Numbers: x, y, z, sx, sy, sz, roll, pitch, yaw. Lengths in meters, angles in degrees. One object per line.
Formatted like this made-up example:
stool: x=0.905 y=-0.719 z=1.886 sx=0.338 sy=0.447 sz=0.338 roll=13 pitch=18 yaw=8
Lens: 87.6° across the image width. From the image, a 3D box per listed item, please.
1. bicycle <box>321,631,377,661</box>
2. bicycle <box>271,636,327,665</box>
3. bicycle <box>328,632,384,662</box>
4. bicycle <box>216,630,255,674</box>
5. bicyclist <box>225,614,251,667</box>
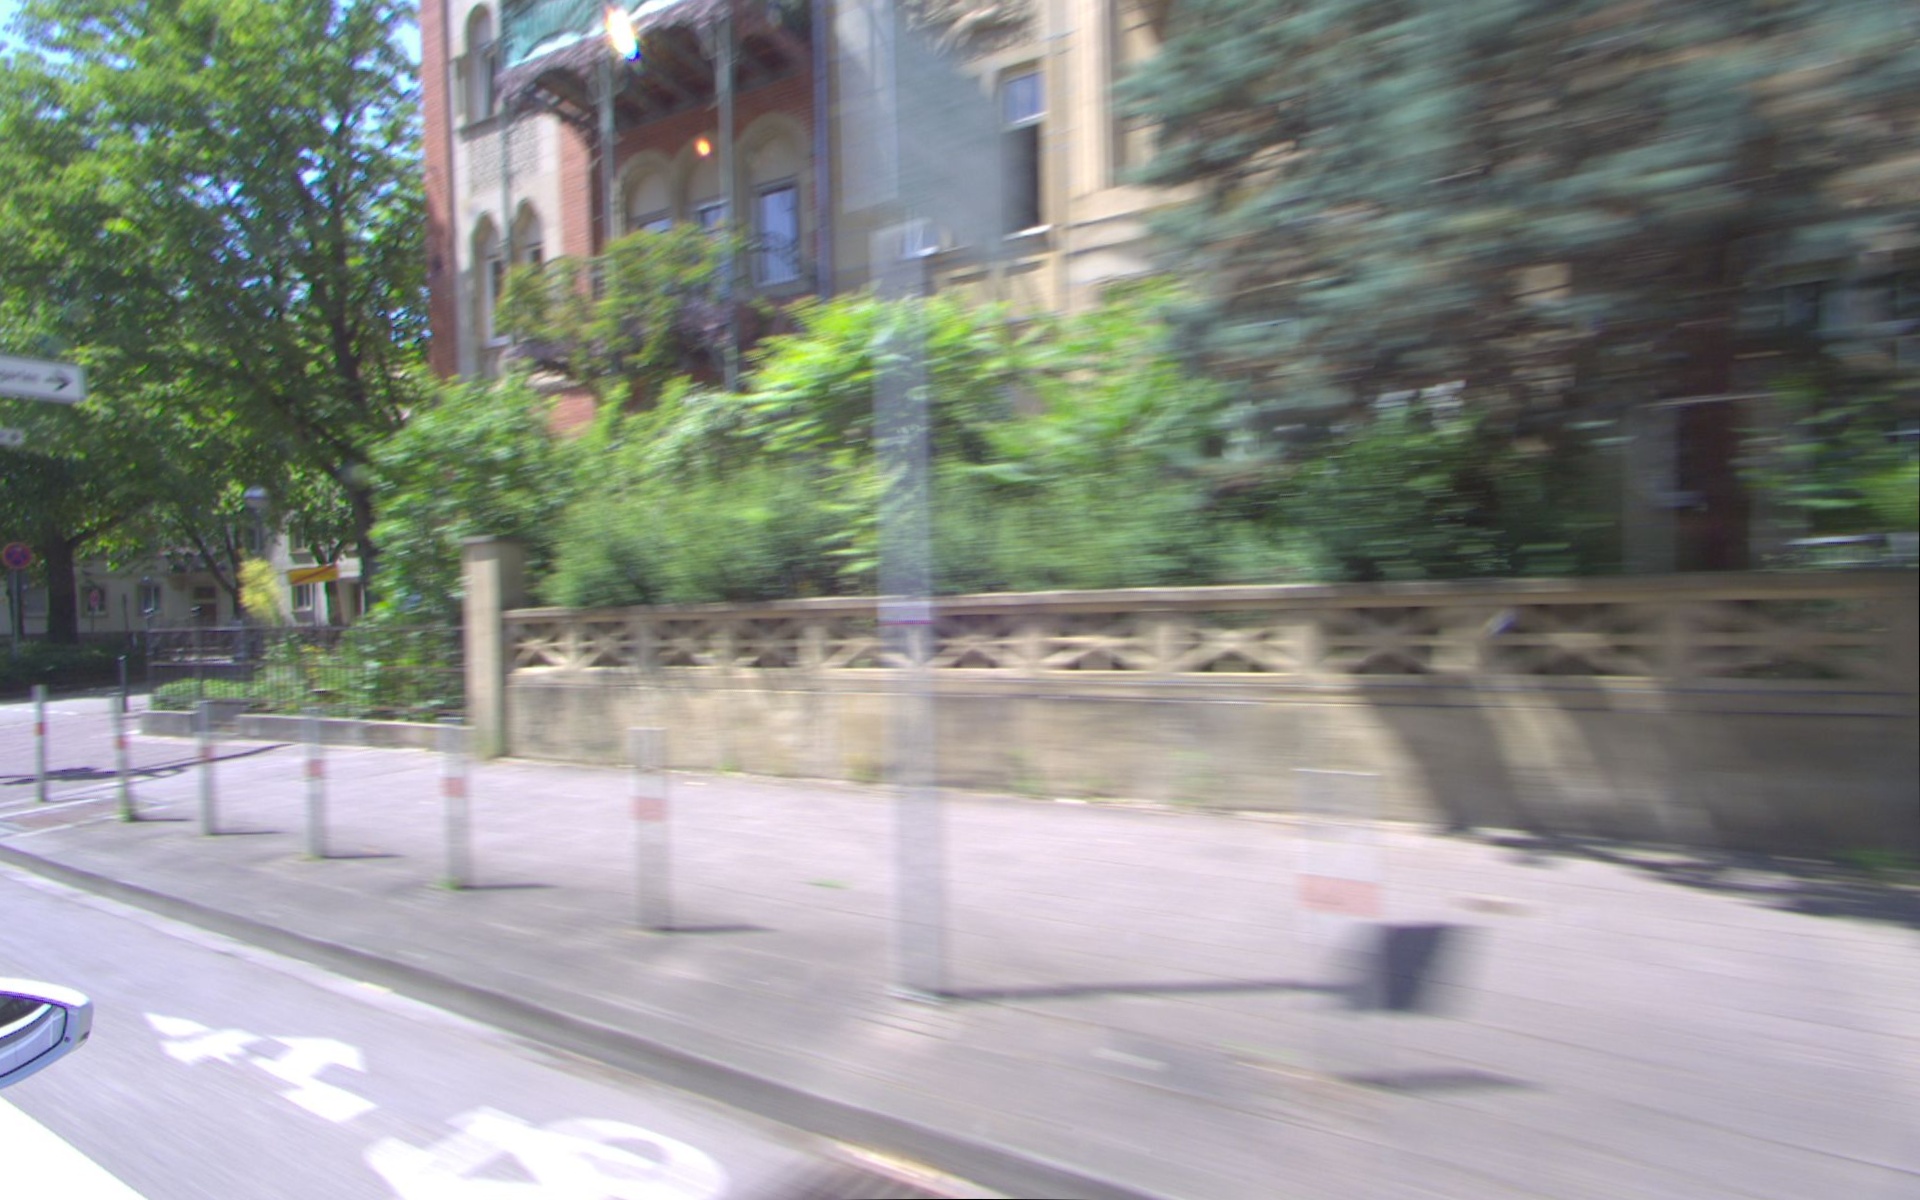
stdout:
bicycle: x=-28.311 y=2.137 z=46.453 sx=0.541 sy=1.317 sz=2.143 roll=-2 pitch=-2 yaw=38
bicycle: x=-31.645 y=2.395 z=47.974 sx=0.541 sy=1.317 sz=2.143 roll=-2 pitch=-2 yaw=38
bicycle: x=-27.636 y=2.156 z=45.839 sx=0.541 sy=1.317 sz=2.143 roll=-2 pitch=-2 yaw=38
bicycle: x=-25.590 y=1.832 z=35.350 sx=2.143 sy=1.504 sz=0.589 roll=-3 pitch=-1 yaw=40
bicyclist: x=-25.307 y=1.414 z=35.104 sx=0.528 sy=1.823 sz=0.599 roll=-2 pitch=-1 yaw=41
